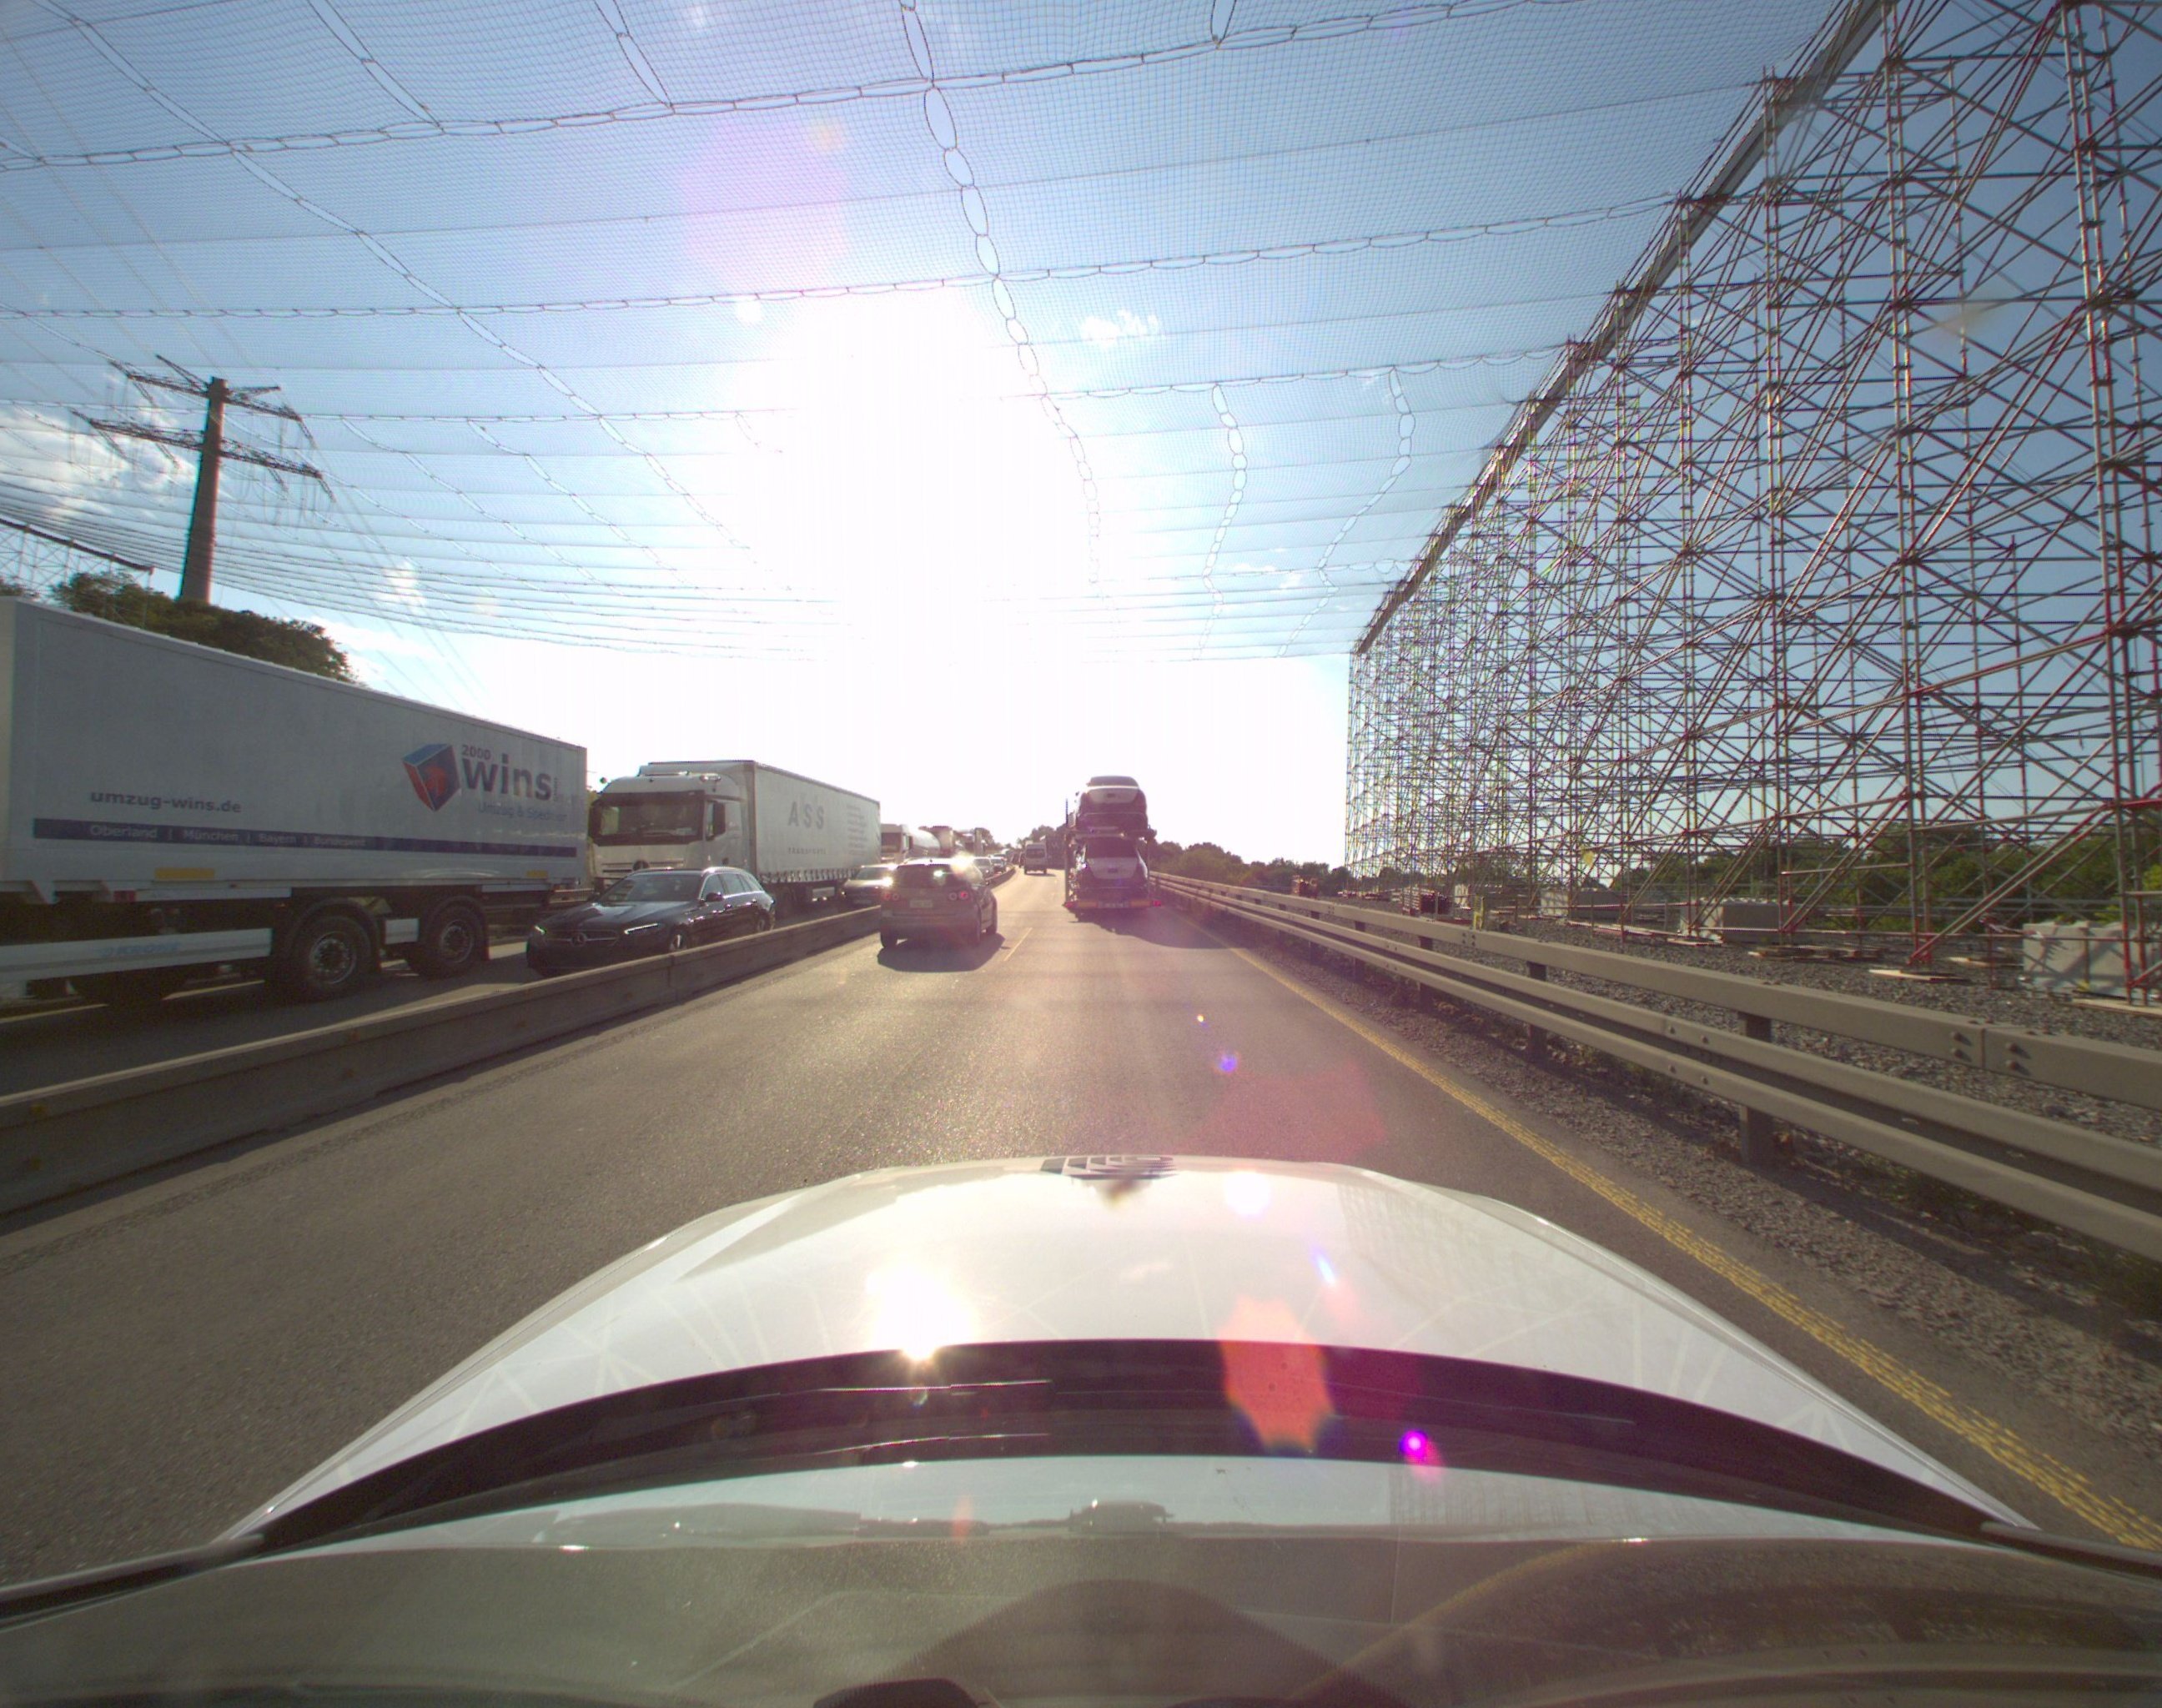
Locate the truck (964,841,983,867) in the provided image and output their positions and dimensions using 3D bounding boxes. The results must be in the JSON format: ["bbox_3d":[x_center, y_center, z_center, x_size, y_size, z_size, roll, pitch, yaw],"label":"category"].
[{"bbox_3d":[-15.679,0.042,119.517,2.598,3.754,6.502,0,-1,-6],"label":"truck"}]

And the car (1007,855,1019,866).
[{"bbox_3d":[-10.854,1.069,130.864,1.822,1.772,3.994,0,-1,-4],"label":"car"}]

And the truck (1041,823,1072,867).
[{"bbox_3d":[-3.143,-1.031,102.824,3.281,5.237,9.916,0,-1,-5],"label":"truck"}]

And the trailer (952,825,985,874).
[{"bbox_3d":[-10.680,-0.351,78.076,2.472,4.328,10.492,0,-1,-5],"label":"trailer"}]

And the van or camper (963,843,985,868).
[{"bbox_3d":[-13.024,0.206,99.235,2.405,2.891,7.602,0,-1,-6],"label":"van or camper"}]

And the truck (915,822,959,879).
[{"bbox_3d":[-10.135,-0.213,57.699,2.427,3.785,5.609,0,-1,-4],"label":"truck"}]

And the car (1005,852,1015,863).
[{"bbox_3d":[-12.999,0.587,148.694,1.628,2.014,3.989,0,-1,-7],"label":"car"}]

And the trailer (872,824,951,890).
[{"bbox_3d":[-9.525,0.201,47.250,2.300,3.362,12.045,0,-1,-1],"label":"trailer"}]

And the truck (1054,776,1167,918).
[{"bbox_3d":[0.746,-0.134,25.579,2.790,3.497,10.603,0,-1,0],"label":"truck"}]

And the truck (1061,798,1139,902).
[{"bbox_3d":[0.687,-0.113,35.054,2.829,3.792,9.984,0,-1,0],"label":"truck"}]

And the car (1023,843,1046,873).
[{"bbox_3d":[-4.076,0.332,71.330,1.917,2.492,5.401,0,-1,-3],"label":"car"}]

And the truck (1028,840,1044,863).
[{"bbox_3d":[-7.359,-0.346,133.825,2.525,3.648,8.895,0,-1,-3],"label":"truck"}]

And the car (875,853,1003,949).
[{"bbox_3d":[-2.580,0.811,15.687,1.685,1.596,4.001,0,-1,1],"label":"car"}]

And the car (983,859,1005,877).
[{"bbox_3d":[-7.174,1.132,67.556,1.624,1.426,4.381,0,-1,-4],"label":"car"}]

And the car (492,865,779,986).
[{"bbox_3d":[-6.322,0.904,12.306,1.772,1.450,4.662,0,-1,0],"label":"car"}]

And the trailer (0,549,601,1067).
[{"bbox_3d":[-9.712,-0.341,7.543,2.661,4.016,13.330,0,-1,0],"label":"trailer"}]

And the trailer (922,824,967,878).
[{"bbox_3d":[-10.457,-0.160,63.517,2.302,3.790,12.034,0,-1,-4],"label":"trailer"}]

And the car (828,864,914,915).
[{"bbox_3d":[-6.169,0.998,24.294,1.602,1.376,3.899,0,-1,-1],"label":"car"}]

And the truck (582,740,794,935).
[{"bbox_3d":[-9.175,-0.319,19.770,2.466,4.046,5.614,0,-1,-1],"label":"truck"}]

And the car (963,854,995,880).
[{"bbox_3d":[-6.490,0.818,52.298,1.747,1.587,3.938,0,-1,-3],"label":"car"}]

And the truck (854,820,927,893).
[{"bbox_3d":[-9.411,0.131,40.715,2.407,3.370,5.614,0,-1,-1],"label":"truck"}]

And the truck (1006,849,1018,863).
[{"bbox_3d":[-15.902,0.566,186.696,2.587,3.170,6.663,0,-1,-6],"label":"truck"}]

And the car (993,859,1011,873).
[{"bbox_3d":[-8.047,1.209,83.122,1.624,1.426,4.652,0,-1,-3],"label":"car"}]

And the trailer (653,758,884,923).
[{"bbox_3d":[-9.260,-0.276,26.757,2.421,3.963,14.090,0,-1,-1],"label":"trailer"}]
